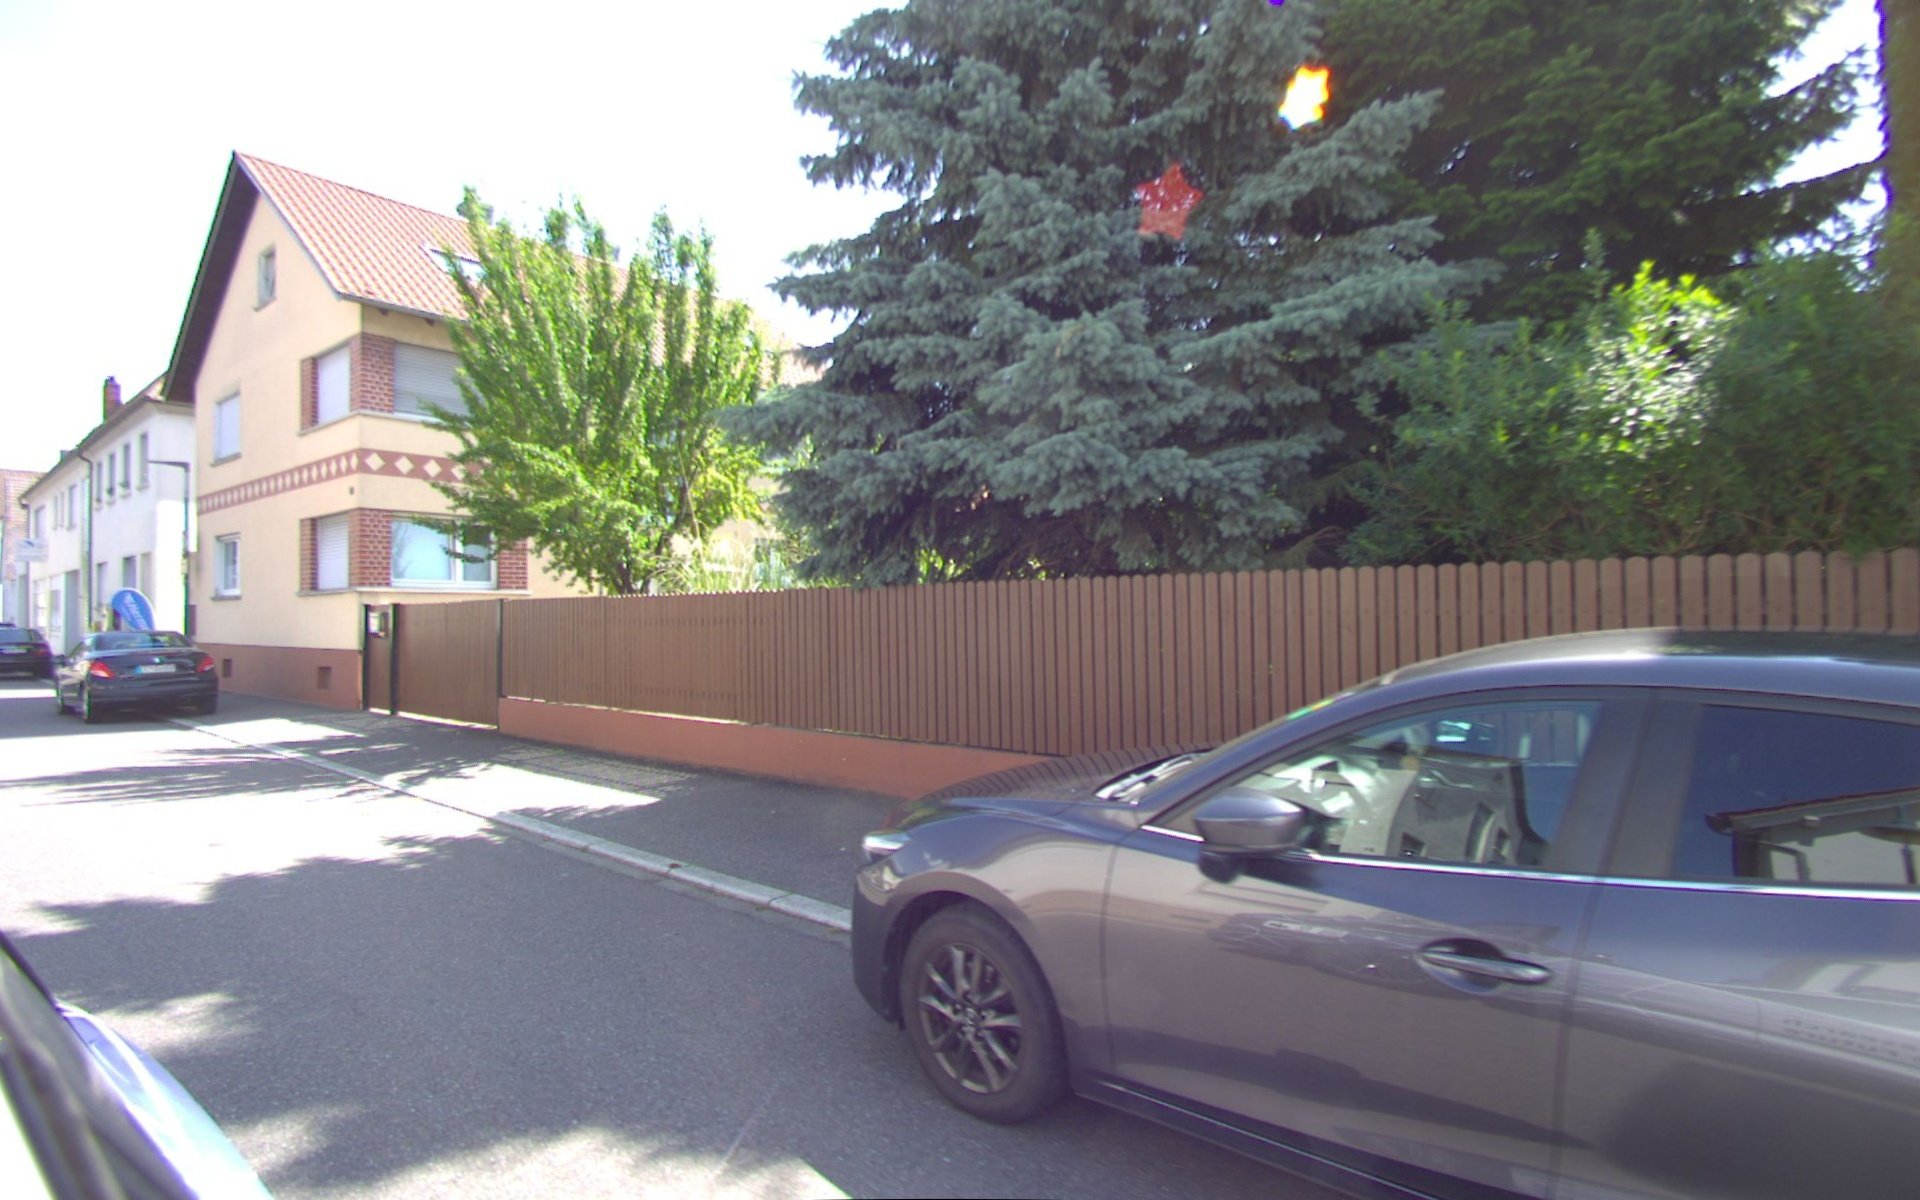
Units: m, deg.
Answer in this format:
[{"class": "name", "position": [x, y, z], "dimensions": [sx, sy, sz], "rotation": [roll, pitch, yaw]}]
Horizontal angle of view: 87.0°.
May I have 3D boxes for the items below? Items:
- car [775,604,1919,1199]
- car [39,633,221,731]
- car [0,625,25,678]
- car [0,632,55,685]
[{"class": "car", "position": [1.560, 0.766, 2.683], "dimensions": [4.436, 1.471, 1.749], "rotation": [-2, -2, 43]}, {"class": "car", "position": [-13.834, 1.262, 16.790], "dimensions": [4.065, 1.384, 1.743], "rotation": [-2, -1, 42]}, {"class": "car", "position": [-32.142, 1.662, 33.161], "dimensions": [4.146, 1.652, 1.699], "rotation": [-2, -4, 41]}, {"class": "car", "position": [-27.212, 1.628, 28.858], "dimensions": [4.389, 1.422, 1.679], "rotation": [-2, -2, 43]}]
